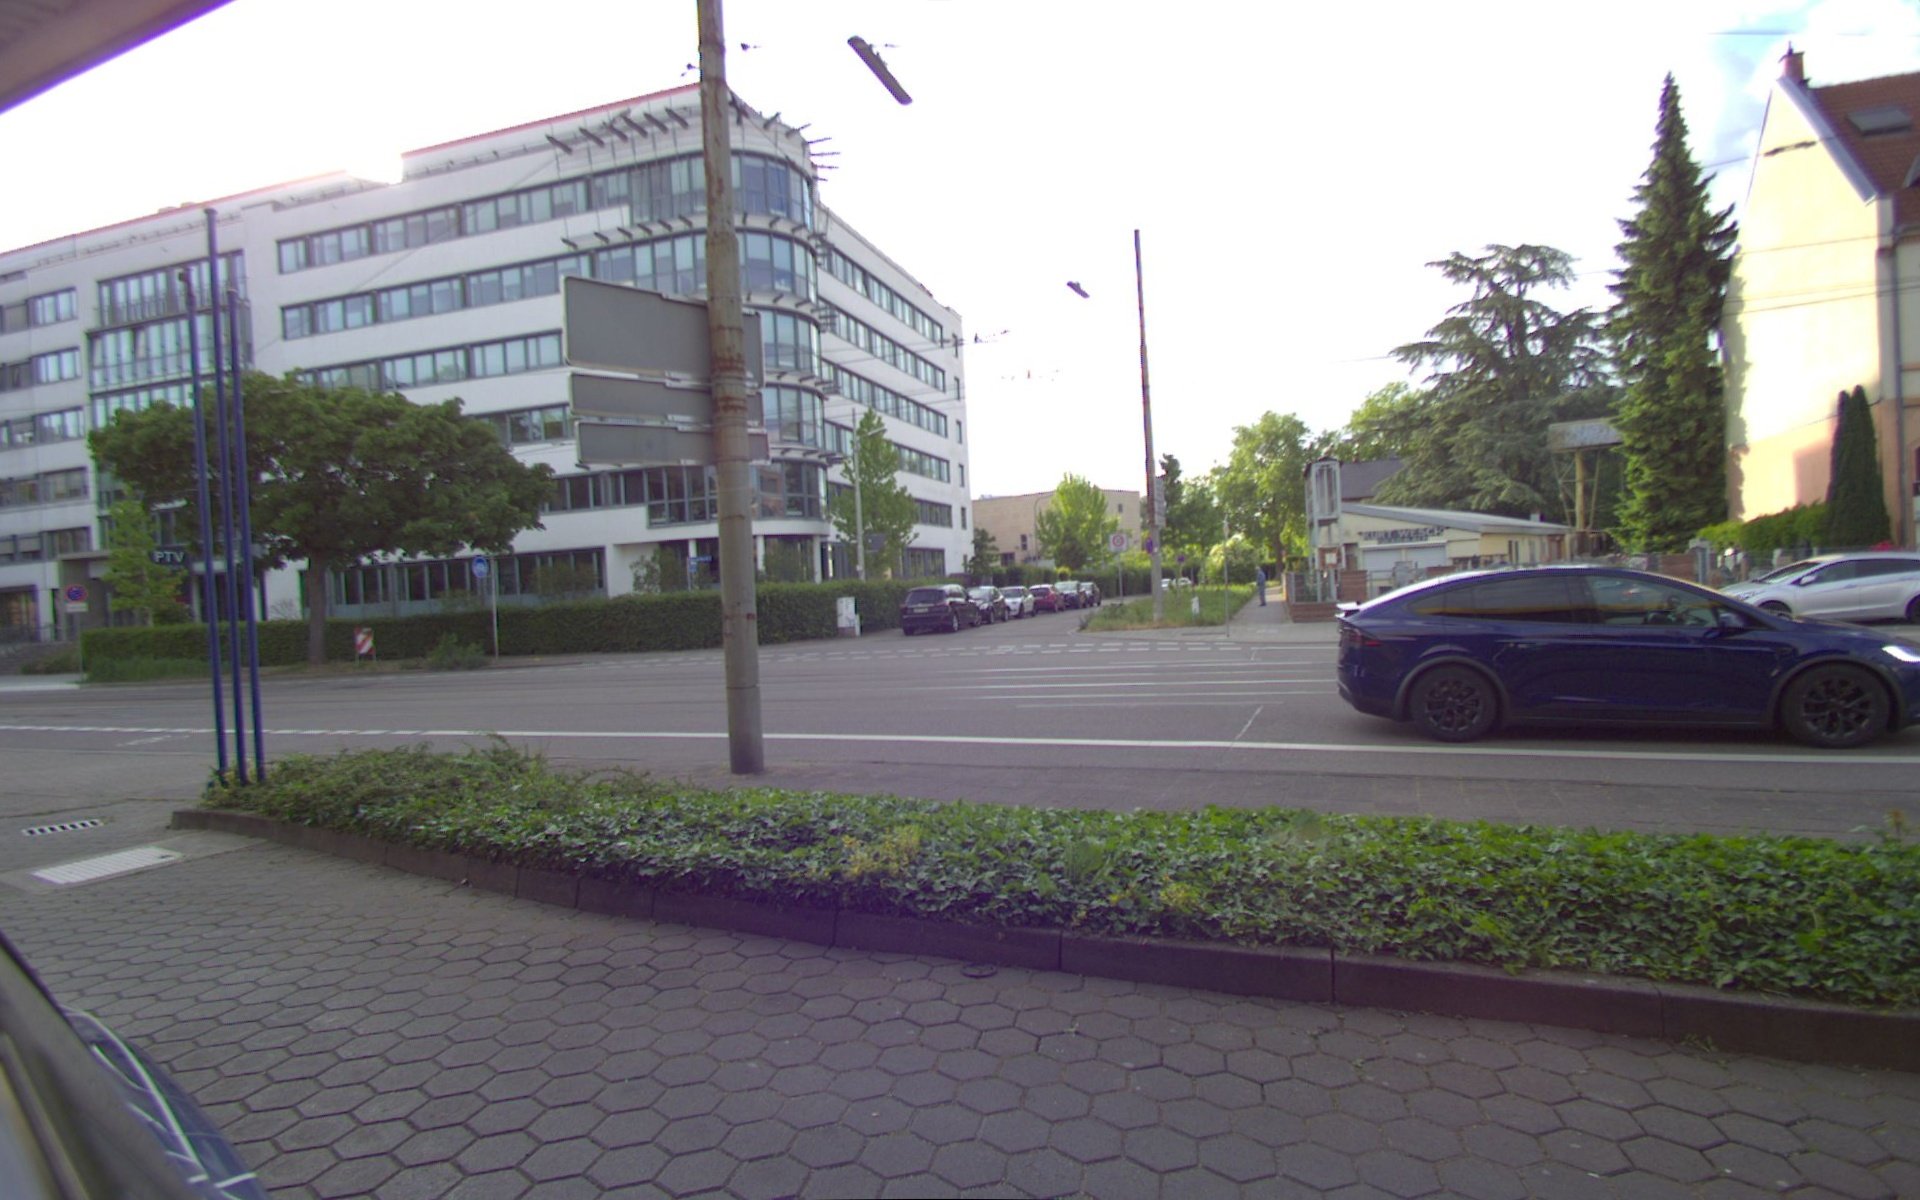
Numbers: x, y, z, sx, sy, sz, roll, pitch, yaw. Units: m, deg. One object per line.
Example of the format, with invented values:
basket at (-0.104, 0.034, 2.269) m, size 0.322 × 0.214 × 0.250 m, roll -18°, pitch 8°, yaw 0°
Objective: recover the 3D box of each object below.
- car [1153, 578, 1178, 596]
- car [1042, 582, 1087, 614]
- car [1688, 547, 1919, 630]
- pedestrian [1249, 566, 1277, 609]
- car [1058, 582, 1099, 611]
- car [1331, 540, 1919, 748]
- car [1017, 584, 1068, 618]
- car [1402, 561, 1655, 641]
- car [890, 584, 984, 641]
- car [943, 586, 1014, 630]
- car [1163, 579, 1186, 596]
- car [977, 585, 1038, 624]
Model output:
car at (20.428, -1.264, 100.610) m, size 1.774 × 1.653 × 4.060 m, roll -4°, pitch 0°, yaw 19°
car at (5.986, -0.134, 57.657) m, size 1.773 × 1.653 × 4.064 m, roll -4°, pitch 0°, yaw 17°
car at (18.498, -0.261, 21.494) m, size 4.459 × 1.486 × 1.986 m, roll -4°, pitch 0°, yaw 22°
pedestrian at (13.082, -0.528, 43.727) m, size 1.000 × 1.843 × 1.083 m, roll -1°, pitch 0°, yaw 25°
car at (7.376, -0.231, 62.667) m, size 1.773 × 1.653 × 4.064 m, roll -4°, pitch 0°, yaw 17°
car at (6.240, 0.416, 9.835) m, size 4.820 × 1.669 × 1.757 m, roll -3°, pitch 2°, yaw 24°
car at (4.291, 0.025, 52.356) m, size 1.773 × 1.552 × 4.018 m, roll -4°, pitch 0°, yaw 17°
car at (12.922, 0.040, 23.411) m, size 4.791 × 1.507 × 1.986 m, roll -4°, pitch 0°, yaw 22°
car at (-0.717, 0.381, 35.532) m, size 1.962 × 1.625 × 4.411 m, roll -4°, pitch 2°, yaw 17°
car at (0.803, 0.290, 40.889) m, size 1.773 × 1.565 × 4.083 m, roll -4°, pitch 0°, yaw 17°
car at (22.567, -1.292, 106.308) m, size 1.774 × 1.653 × 4.060 m, roll -4°, pitch 0°, yaw 19°
car at (2.211, 0.177, 45.751) m, size 1.773 × 1.565 × 4.083 m, roll -4°, pitch 0°, yaw 17°
